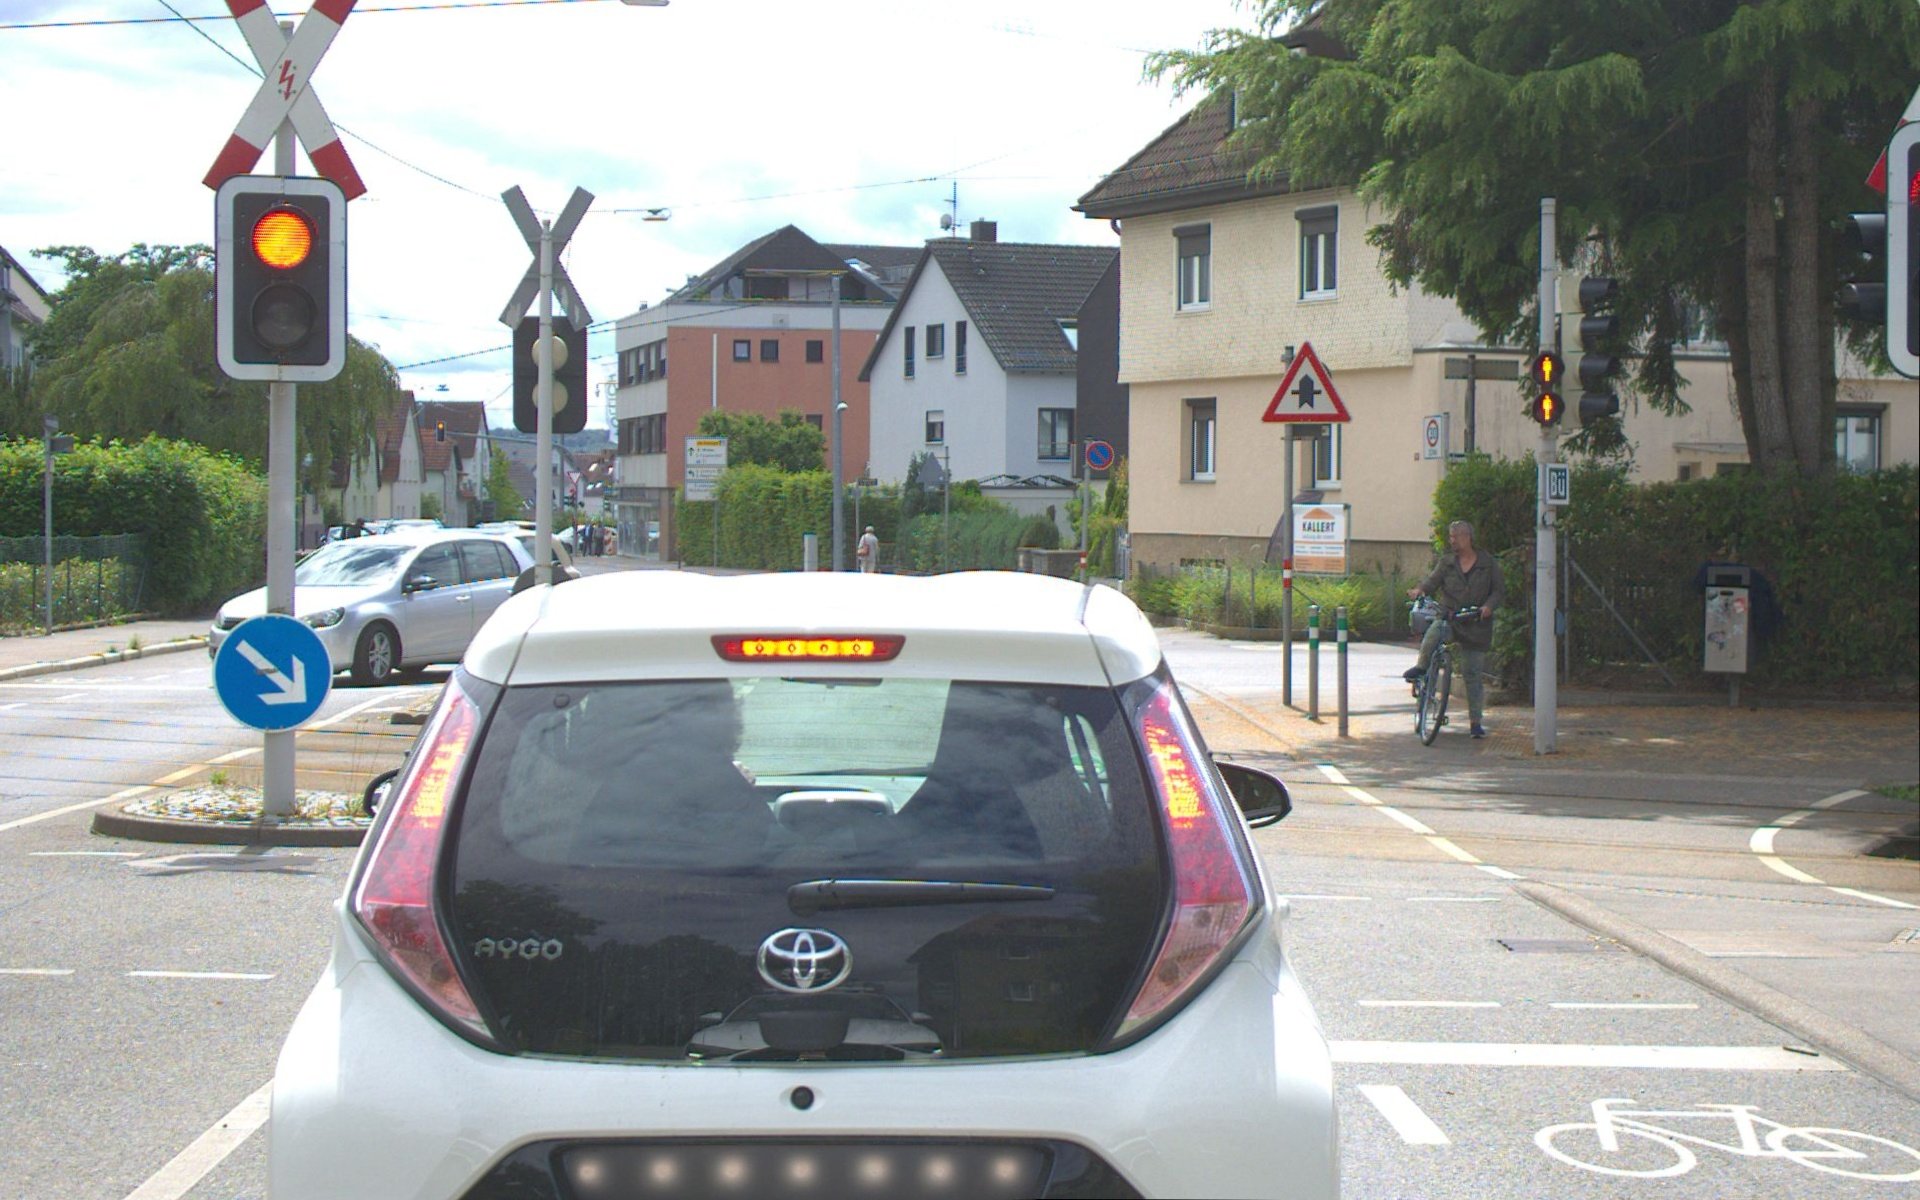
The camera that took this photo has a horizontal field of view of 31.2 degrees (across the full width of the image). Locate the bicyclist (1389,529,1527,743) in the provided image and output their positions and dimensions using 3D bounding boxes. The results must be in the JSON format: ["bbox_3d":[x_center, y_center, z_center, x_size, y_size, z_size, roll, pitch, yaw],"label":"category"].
[{"bbox_3d":[3.791,0.264,26.199,0.840,1.548,0.756,-2,3,-6],"label":"bicyclist"}]

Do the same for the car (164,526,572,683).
[{"bbox_3d":[-5.863,0.031,34.533,1.908,1.436,4.092,2,1,28],"label":"car"}]

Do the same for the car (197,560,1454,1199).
[{"bbox_3d":[-0.306,0.667,6.590,1.721,1.437,3.709,1,1,-4],"label":"car"}]

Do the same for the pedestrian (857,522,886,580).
[{"bbox_3d":[-2.427,-1.347,94.056,0.726,1.571,0.803,2,1,0],"label":"pedestrian"}]

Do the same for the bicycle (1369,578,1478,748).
[{"bbox_3d":[3.531,0.462,26.272,0.457,1.168,1.480,-2,4,-6],"label":"bicycle"}]
